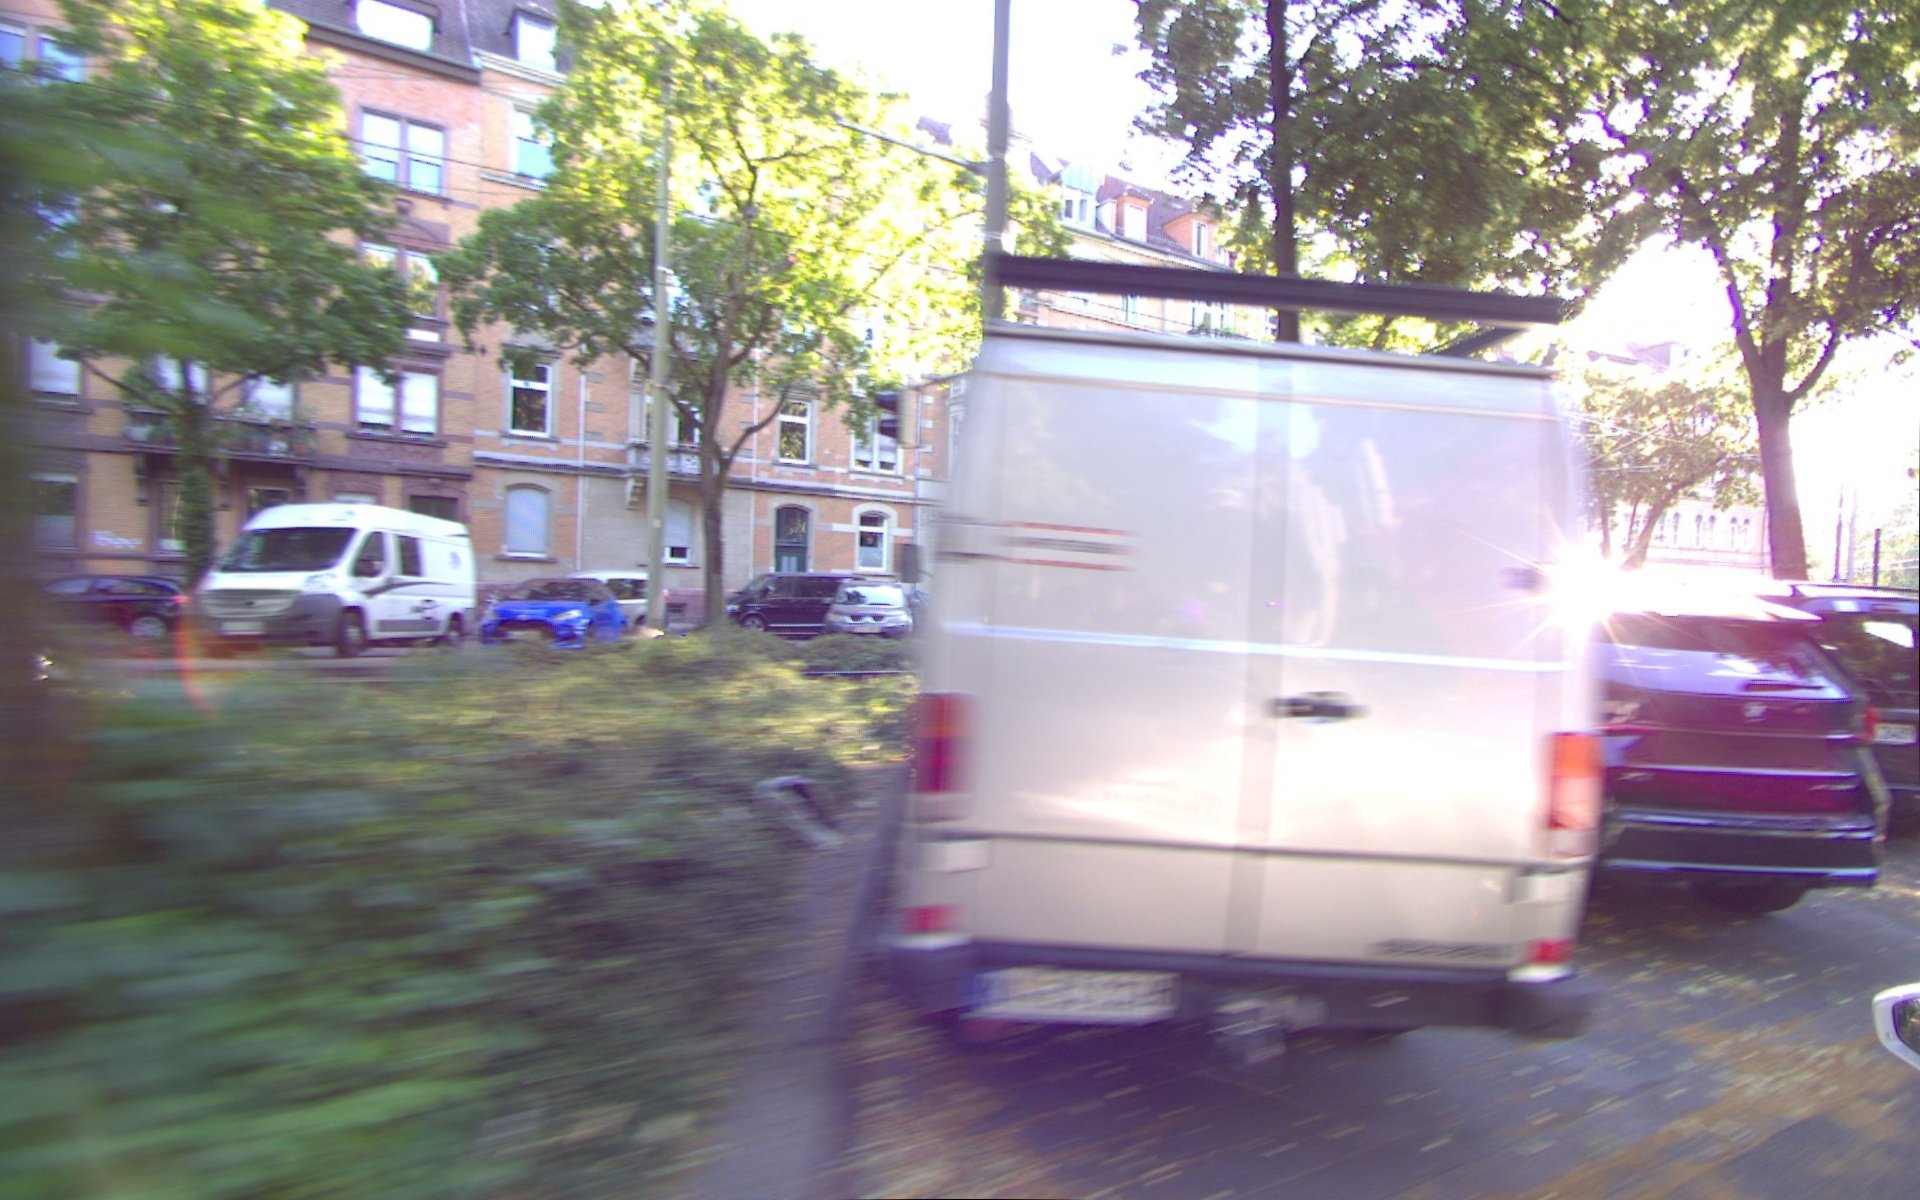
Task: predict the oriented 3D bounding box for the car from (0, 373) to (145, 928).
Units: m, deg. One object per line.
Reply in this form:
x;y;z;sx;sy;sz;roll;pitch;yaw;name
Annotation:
-4.406;0.222;1.803;1.896;1.969;4.713;4;3;2;car

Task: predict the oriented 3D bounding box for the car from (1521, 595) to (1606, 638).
32.507;0.864;54.105;4.946;2.091;1.840;0;4;-33;car

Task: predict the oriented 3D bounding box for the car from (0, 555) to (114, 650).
-14.767;0.015;14.282;1.696;1.380;4.325;1;0;2;car

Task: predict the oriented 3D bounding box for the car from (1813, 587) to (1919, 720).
13.399;0.804;12.548;1.877;1.666;4.160;3;3;2;car

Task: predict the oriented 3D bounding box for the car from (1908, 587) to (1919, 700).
16.135;0.848;14.099;1.846;1.805;4.161;4;3;6;car

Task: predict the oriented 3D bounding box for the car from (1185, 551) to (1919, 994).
3.085;0.598;6.151;1.898;1.638;4.514;3;3;-6;car

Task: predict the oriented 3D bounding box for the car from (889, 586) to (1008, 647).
-0.380;0.525;33.295;3.470;1.807;1.840;0;4;-33;car

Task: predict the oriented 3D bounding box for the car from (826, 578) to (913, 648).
-1.864;0.242;21.818;1.604;1.327;4.188;2;0;-2;car

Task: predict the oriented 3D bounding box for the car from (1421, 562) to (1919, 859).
5.767;0.599;8.153;1.818;1.638;4.518;3;3;-1;car

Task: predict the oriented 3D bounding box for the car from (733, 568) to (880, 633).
-4.572;0.070;30.073;3.981;1.806;1.840;1;-1;-33;car

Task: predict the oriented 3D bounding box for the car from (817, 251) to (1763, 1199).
0.715;0.217;5.070;2.040;2.166;5.512;3;3;-1;car

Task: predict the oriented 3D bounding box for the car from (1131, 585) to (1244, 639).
6.114;0.289;27.468;1.565;1.335;3.992;2;0;-10;car

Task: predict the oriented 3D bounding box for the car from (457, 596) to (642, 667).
-7.202;0.526;18.111;1.791;1.112;4.166;1;-1;-3;car

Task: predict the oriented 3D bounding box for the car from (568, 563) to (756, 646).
-8.120;0.112;27.512;4.610;2.032;1.840;0;4;-33;car

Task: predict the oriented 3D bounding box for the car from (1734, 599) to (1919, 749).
10.987;0.848;11.319;1.798;1.445;3.427;3;3;1;car

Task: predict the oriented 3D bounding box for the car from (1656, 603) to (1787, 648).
33.982;1.089;45.026;2.045;1.788;4.834;2;0;-3;car

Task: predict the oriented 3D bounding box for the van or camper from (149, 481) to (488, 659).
-10.155;-0.397;16.657;2.263;2.402;5.549;1;0;-3;van or camper
